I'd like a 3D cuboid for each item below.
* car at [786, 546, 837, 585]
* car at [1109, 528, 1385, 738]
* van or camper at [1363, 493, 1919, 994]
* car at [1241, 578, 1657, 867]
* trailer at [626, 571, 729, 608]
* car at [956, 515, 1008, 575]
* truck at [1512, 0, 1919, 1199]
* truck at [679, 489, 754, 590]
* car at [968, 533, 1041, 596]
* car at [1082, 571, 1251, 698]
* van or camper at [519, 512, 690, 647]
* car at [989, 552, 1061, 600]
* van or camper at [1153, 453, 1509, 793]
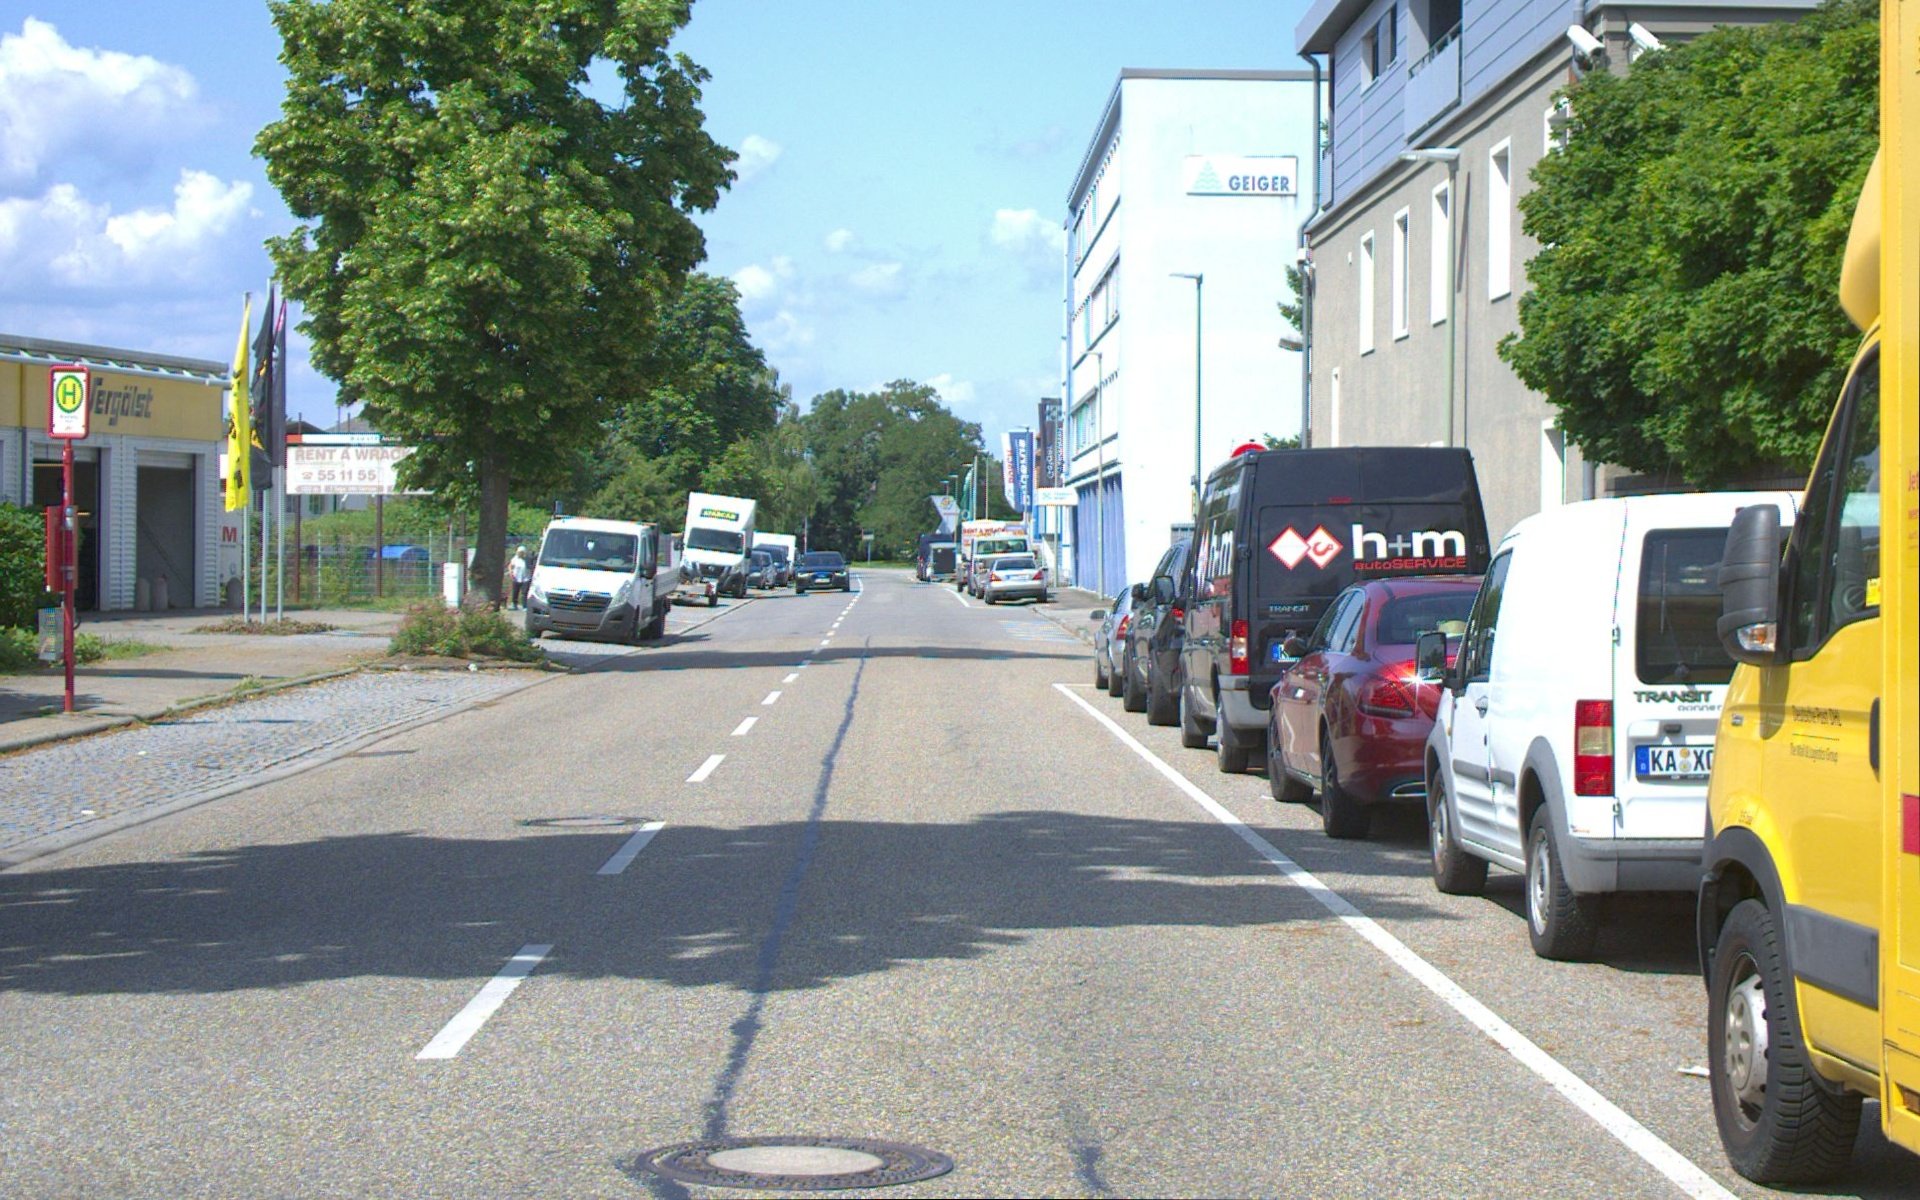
[{"bbox_3d":[-5.188,-1.232,120.432,1.654,1.320,4.417,0,1,-1],"label":"car"},{"bbox_3d":[2.632,0.246,32.669,1.960,1.774,4.955,2,1,-2],"label":"car"},{"bbox_3d":[3.039,0.491,15.364,1.759,1.799,5.587,1,1,0],"label":"van or camper"},{"bbox_3d":[2.762,0.628,20.420,1.681,1.437,4.767,1,1,-1],"label":"car"},{"bbox_3d":[-7.769,-0.304,95.117,2.417,0.811,5.537,3,1,-1],"label":"trailer"},{"bbox_3d":[0.775,-1.961,122.511,1.707,2.082,4.000,0,1,-1],"label":"car"},{"bbox_3d":[2.943,0.031,5.955,2.474,2.930,7.189,2,1,-2],"label":"truck"},{"bbox_3d":[-7.771,-1.951,110.187,2.029,3.143,6.500,0,1,-1],"label":"truck"},{"bbox_3d":[1.416,-1.181,111.950,2.216,2.007,5.485,0,1,-1],"label":"car"},{"bbox_3d":[2.318,0.357,39.451,1.629,1.349,3.924,0,1,-1],"label":"car"},{"bbox_3d":[-6.729,-0.445,65.991,2.174,2.405,7.697,1,1,2],"label":"van or camper"},{"bbox_3d":[1.837,-0.691,98.448,1.928,1.306,4.000,0,1,-1],"label":"car"},{"bbox_3d":[2.725,0.119,26.557,1.993,2.283,5.448,2,1,-1],"label":"van or camper"}]
